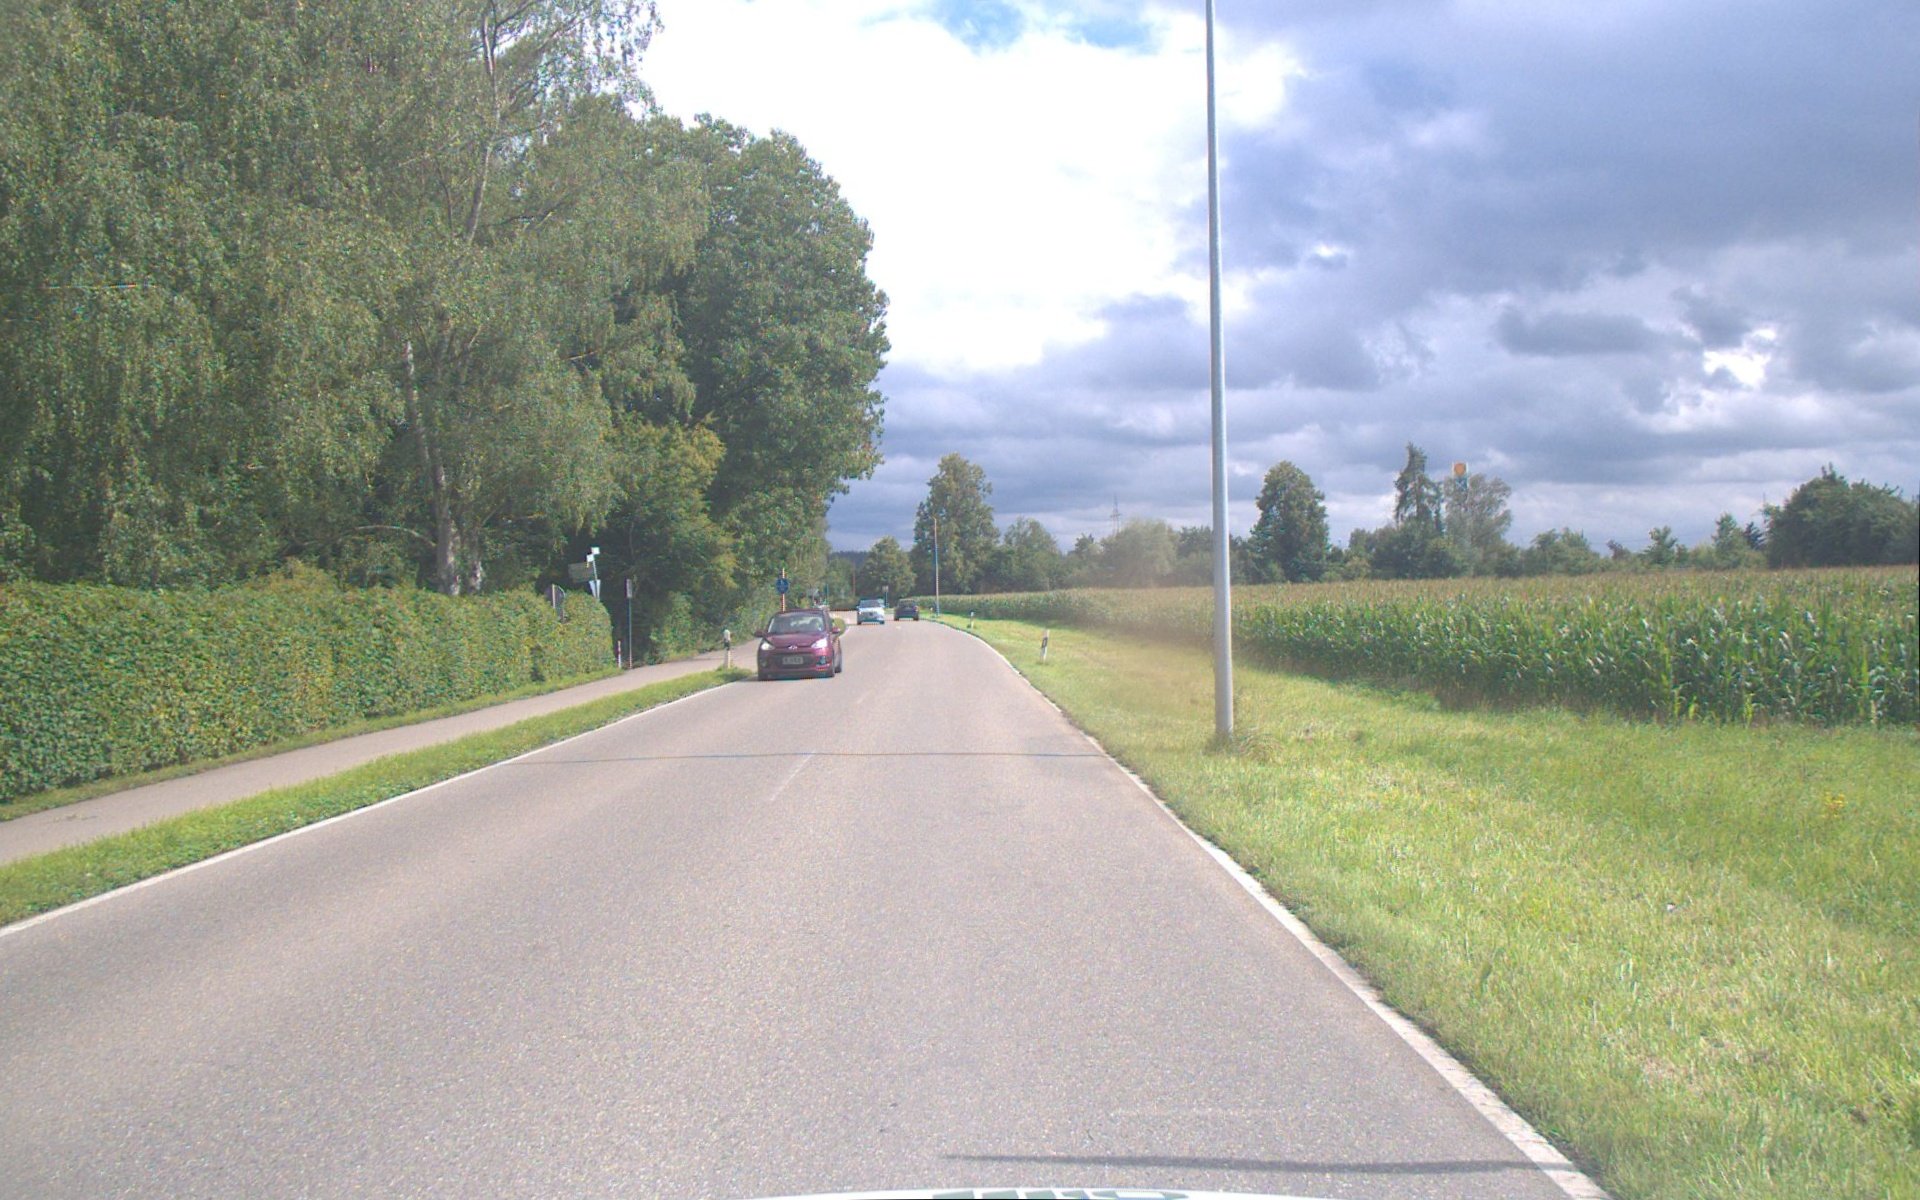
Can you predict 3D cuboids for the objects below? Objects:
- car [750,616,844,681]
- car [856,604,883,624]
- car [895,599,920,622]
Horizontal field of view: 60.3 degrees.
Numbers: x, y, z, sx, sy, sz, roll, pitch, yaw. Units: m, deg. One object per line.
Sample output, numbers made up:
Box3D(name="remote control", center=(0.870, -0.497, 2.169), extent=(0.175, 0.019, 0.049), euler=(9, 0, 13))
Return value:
Box3D(name="car", center=(-3.543, 1.036, 36.473), extent=(1.710, 1.243, 3.542), euler=(-2, 0, -1))
Box3D(name="car", center=(-6.193, 0.947, 113.467), extent=(1.710, 1.243, 3.542), euler=(-2, 0, -1))
Box3D(name="car", center=(-4.156, 0.818, 131.626), extent=(1.868, 1.695, 3.999), euler=(-2, 0, -2))
